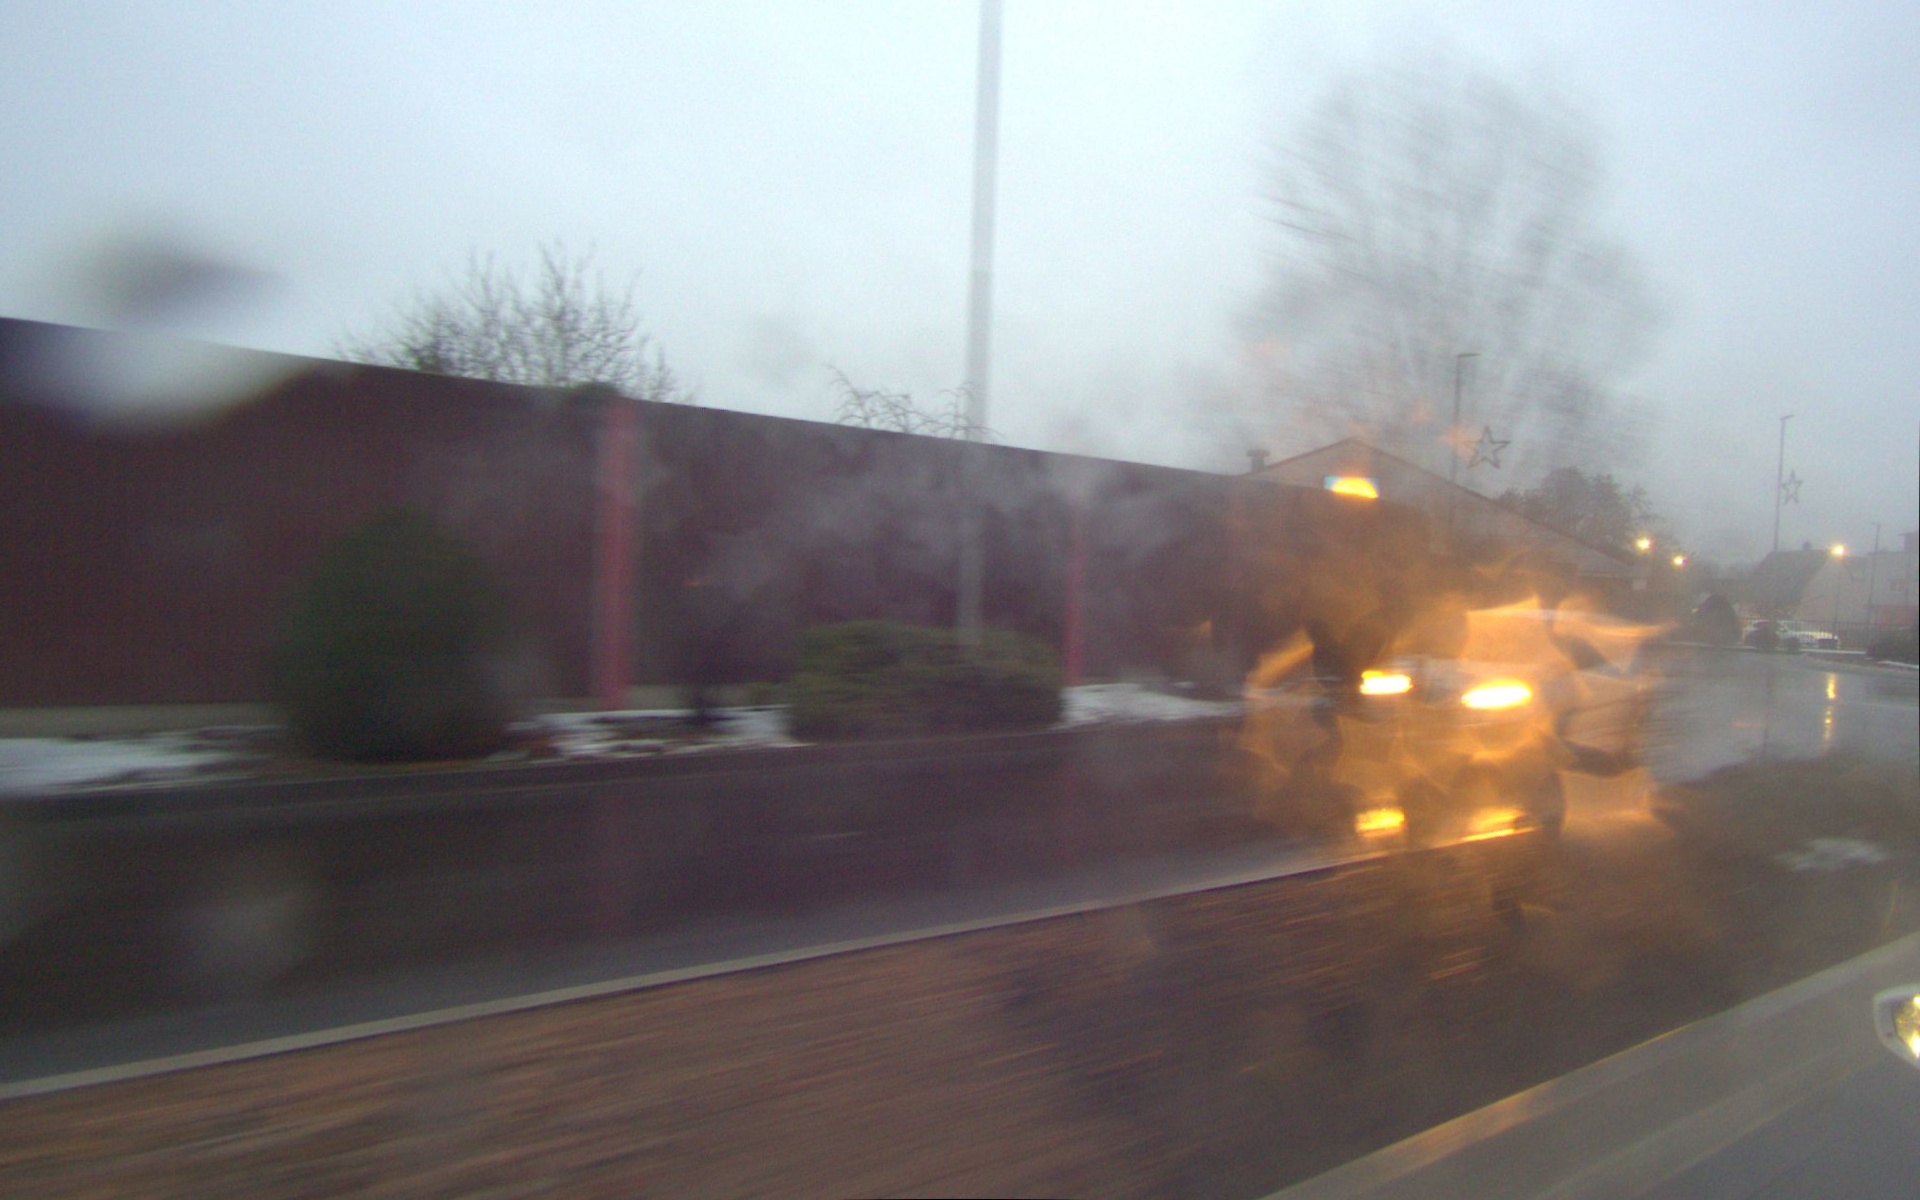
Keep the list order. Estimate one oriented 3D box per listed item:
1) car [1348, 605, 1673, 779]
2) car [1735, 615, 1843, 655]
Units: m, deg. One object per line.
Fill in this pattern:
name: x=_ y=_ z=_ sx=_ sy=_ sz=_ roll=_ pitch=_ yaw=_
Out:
car: x=5.845 y=0.844 z=10.539 sx=3.650 sy=1.489 sz=1.595 roll=1 pitch=1 yaw=-37
car: x=41.873 y=1.740 z=50.872 sx=2.024 sy=1.582 sz=4.282 roll=4 pitch=2 yaw=4
